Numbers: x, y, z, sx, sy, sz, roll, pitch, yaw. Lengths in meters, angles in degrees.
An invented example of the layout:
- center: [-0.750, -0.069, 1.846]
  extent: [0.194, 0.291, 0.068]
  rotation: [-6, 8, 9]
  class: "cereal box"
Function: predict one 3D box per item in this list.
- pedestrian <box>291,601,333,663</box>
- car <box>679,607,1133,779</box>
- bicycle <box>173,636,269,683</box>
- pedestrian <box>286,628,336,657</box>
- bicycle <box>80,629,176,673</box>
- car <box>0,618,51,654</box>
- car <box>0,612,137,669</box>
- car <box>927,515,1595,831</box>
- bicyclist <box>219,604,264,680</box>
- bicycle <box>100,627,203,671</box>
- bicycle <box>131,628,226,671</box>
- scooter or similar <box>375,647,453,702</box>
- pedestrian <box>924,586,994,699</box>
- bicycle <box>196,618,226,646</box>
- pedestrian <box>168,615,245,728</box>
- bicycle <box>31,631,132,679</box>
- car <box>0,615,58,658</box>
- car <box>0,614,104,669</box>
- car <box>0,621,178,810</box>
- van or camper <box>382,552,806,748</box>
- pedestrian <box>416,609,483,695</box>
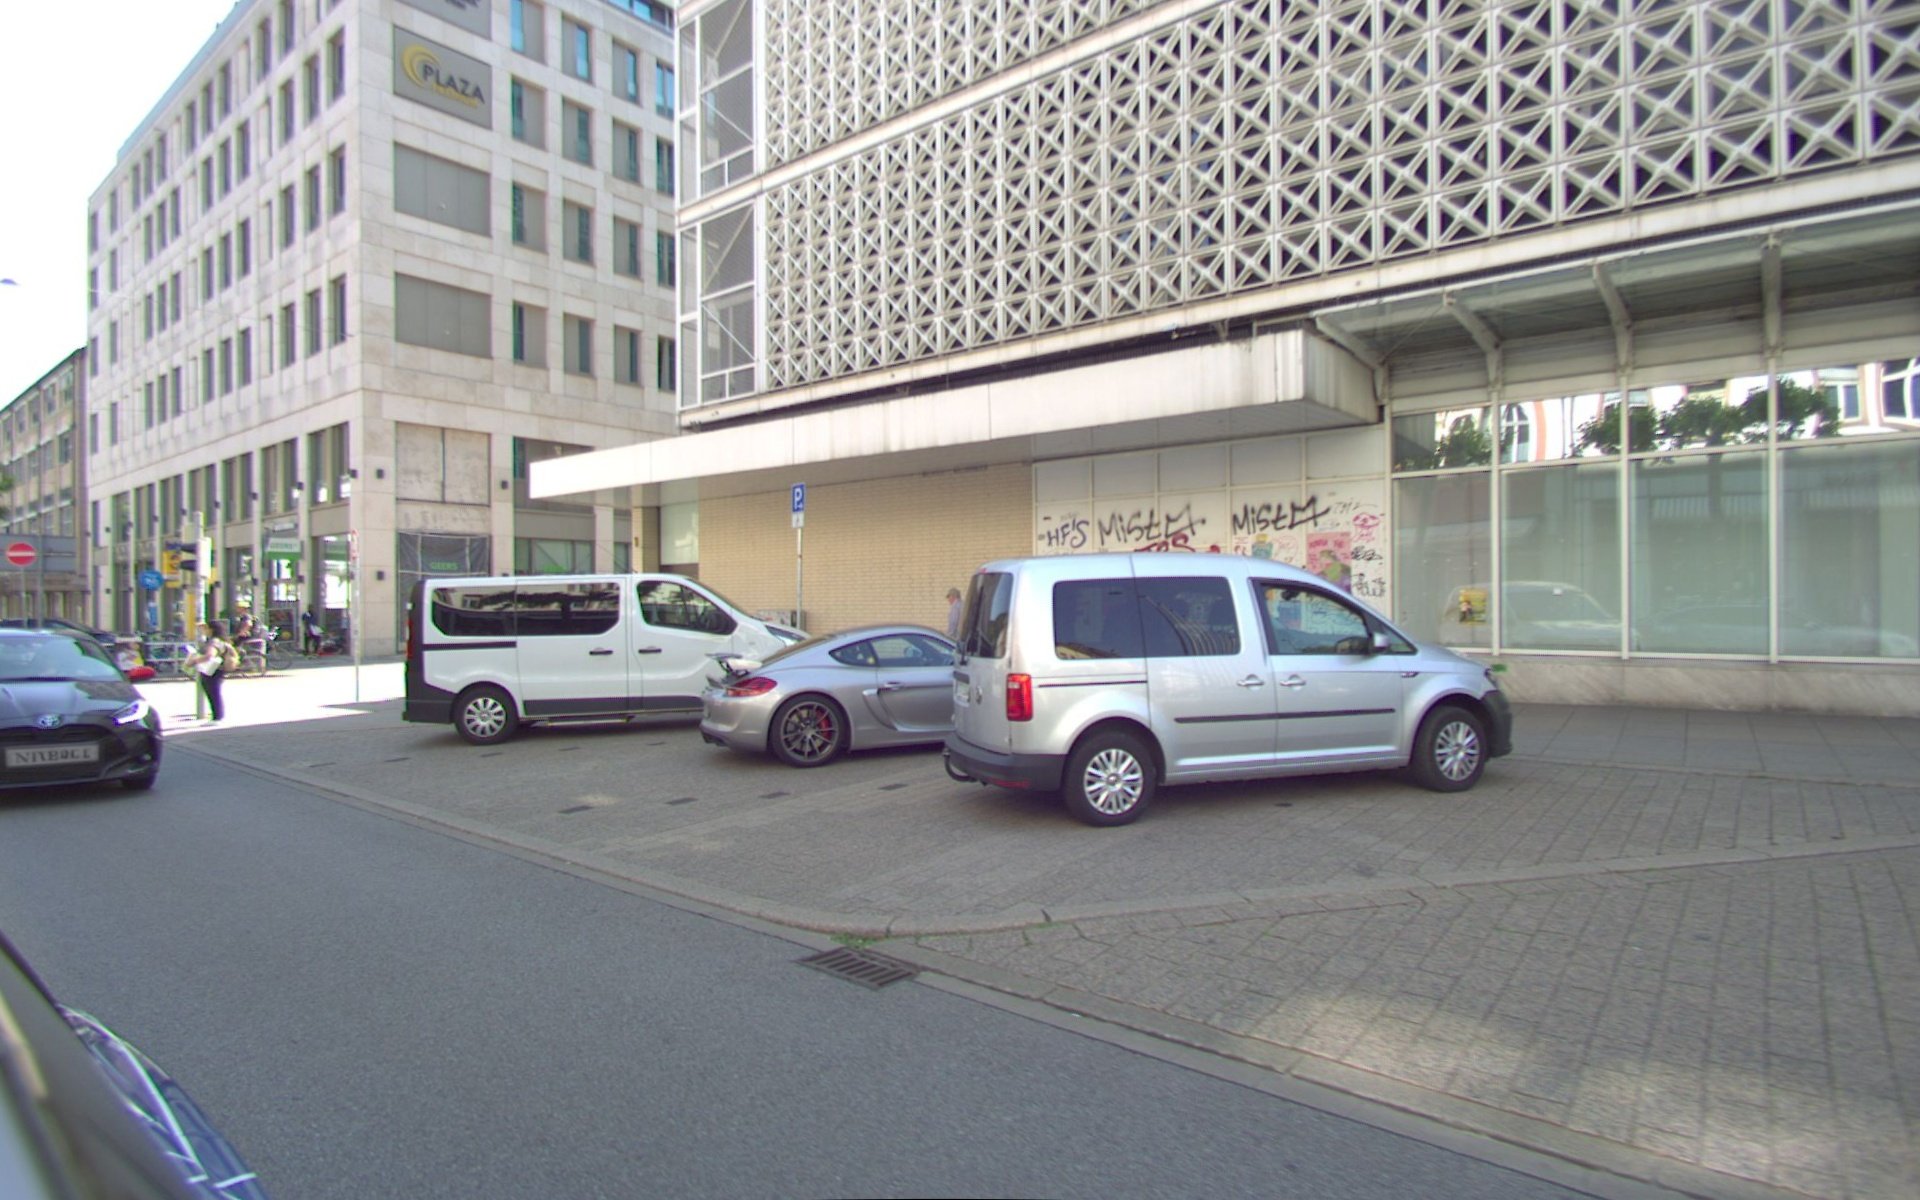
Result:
- center: [-20.783, 1.012, 32.456]
  extent: [0.844, 1.892, 0.830]
  rotation: [-1, 3, 40]
  class: "pedestrian"
- center: [-0.607, 0.816, 10.403]
  extent: [4.225, 1.296, 1.977]
  rotation: [-2, 1, -19]
  class: "car"
- center: [-19.374, 1.529, 26.559]
  extent: [1.963, 1.135, 0.800]
  rotation: [0, -2, -44]
  class: "bicycle"
- center: [-21.924, 1.417, 34.188]
  extent: [0.840, 0.932, 1.237]
  rotation: [-1, -1, 38]
  class: "pedestrian"
- center: [-24.184, 1.481, 29.452]
  extent: [2.029, 1.135, 0.564]
  rotation: [-3, 0, -26]
  class: "bicycle"
- center: [-43.459, 1.737, 44.799]
  extent: [4.426, 1.443, 1.869]
  rotation: [-6, 4, -31]
  class: "car"
- center: [-30.138, 1.322, 33.615]
  extent: [3.965, 1.614, 1.965]
  rotation: [-3, 2, -28]
  class: "car"
- center: [2.126, 0.416, 7.673]
  extent: [4.372, 1.924, 2.015]
  rotation: [-1, -1, -14]
  class: "car"
- center: [-19.045, 1.094, 26.814]
  extent: [0.832, 1.975, 1.018]
  rotation: [0, -1, -45]
  class: "bicyclist"
- center: [-24.183, 1.445, 30.317]
  extent: [2.289, 1.135, 0.564]
  rotation: [-3, 1, -26]
  class: "bicycle"
- center: [-22.205, 1.399, 28.784]
  extent: [2.028, 1.135, 0.649]
  rotation: [-1, -1, -24]
  class: "bicycle"
- center: [-10.512, 1.413, 19.500]
  extent: [0.895, 0.972, 0.967]
  rotation: [-1, 0, 19]
  class: "scooter or similar"
- center: [-0.021, 0.631, 15.407]
  extent: [0.863, 1.648, 0.582]
  rotation: [-1, 0, 40]
  class: "pedestrian"
- center: [-31.426, 1.343, 42.445]
  extent: [2.159, 1.115, 0.490]
  rotation: [-1, 1, 40]
  class: "bicycle"
- center: [-11.011, 1.030, 14.789]
  extent: [0.678, 1.571, 0.635]
  rotation: [-2, 0, 28]
  class: "pedestrian"
- center: [-23.092, 1.441, 26.625]
  extent: [2.033, 1.182, 0.606]
  rotation: [-1, 1, -5]
  class: "bicycle"
- center: [-40.855, 1.646, 42.451]
  extent: [3.970, 1.604, 1.825]
  rotation: [-5, 3, -18]
  class: "car"
- center: [-32.902, 1.480, 35.611]
  extent: [4.109, 1.649, 2.105]
  rotation: [-5, 3, -42]
  class: "car"
- center: [-8.983, 0.989, 9.498]
  extent: [4.105, 1.489, 1.844]
  rotation: [-3, -4, 42]
  class: "car"
- center: [-4.326, 0.541, 12.652]
  extent: [4.584, 2.029, 2.005]
  rotation: [-2, 0, -11]
  class: "van or camper"
- center: [-10.310, 1.043, 20.460]
  extent: [0.835, 1.671, 0.839]
  rotation: [-2, -1, 20]
  class: "pedestrian"
